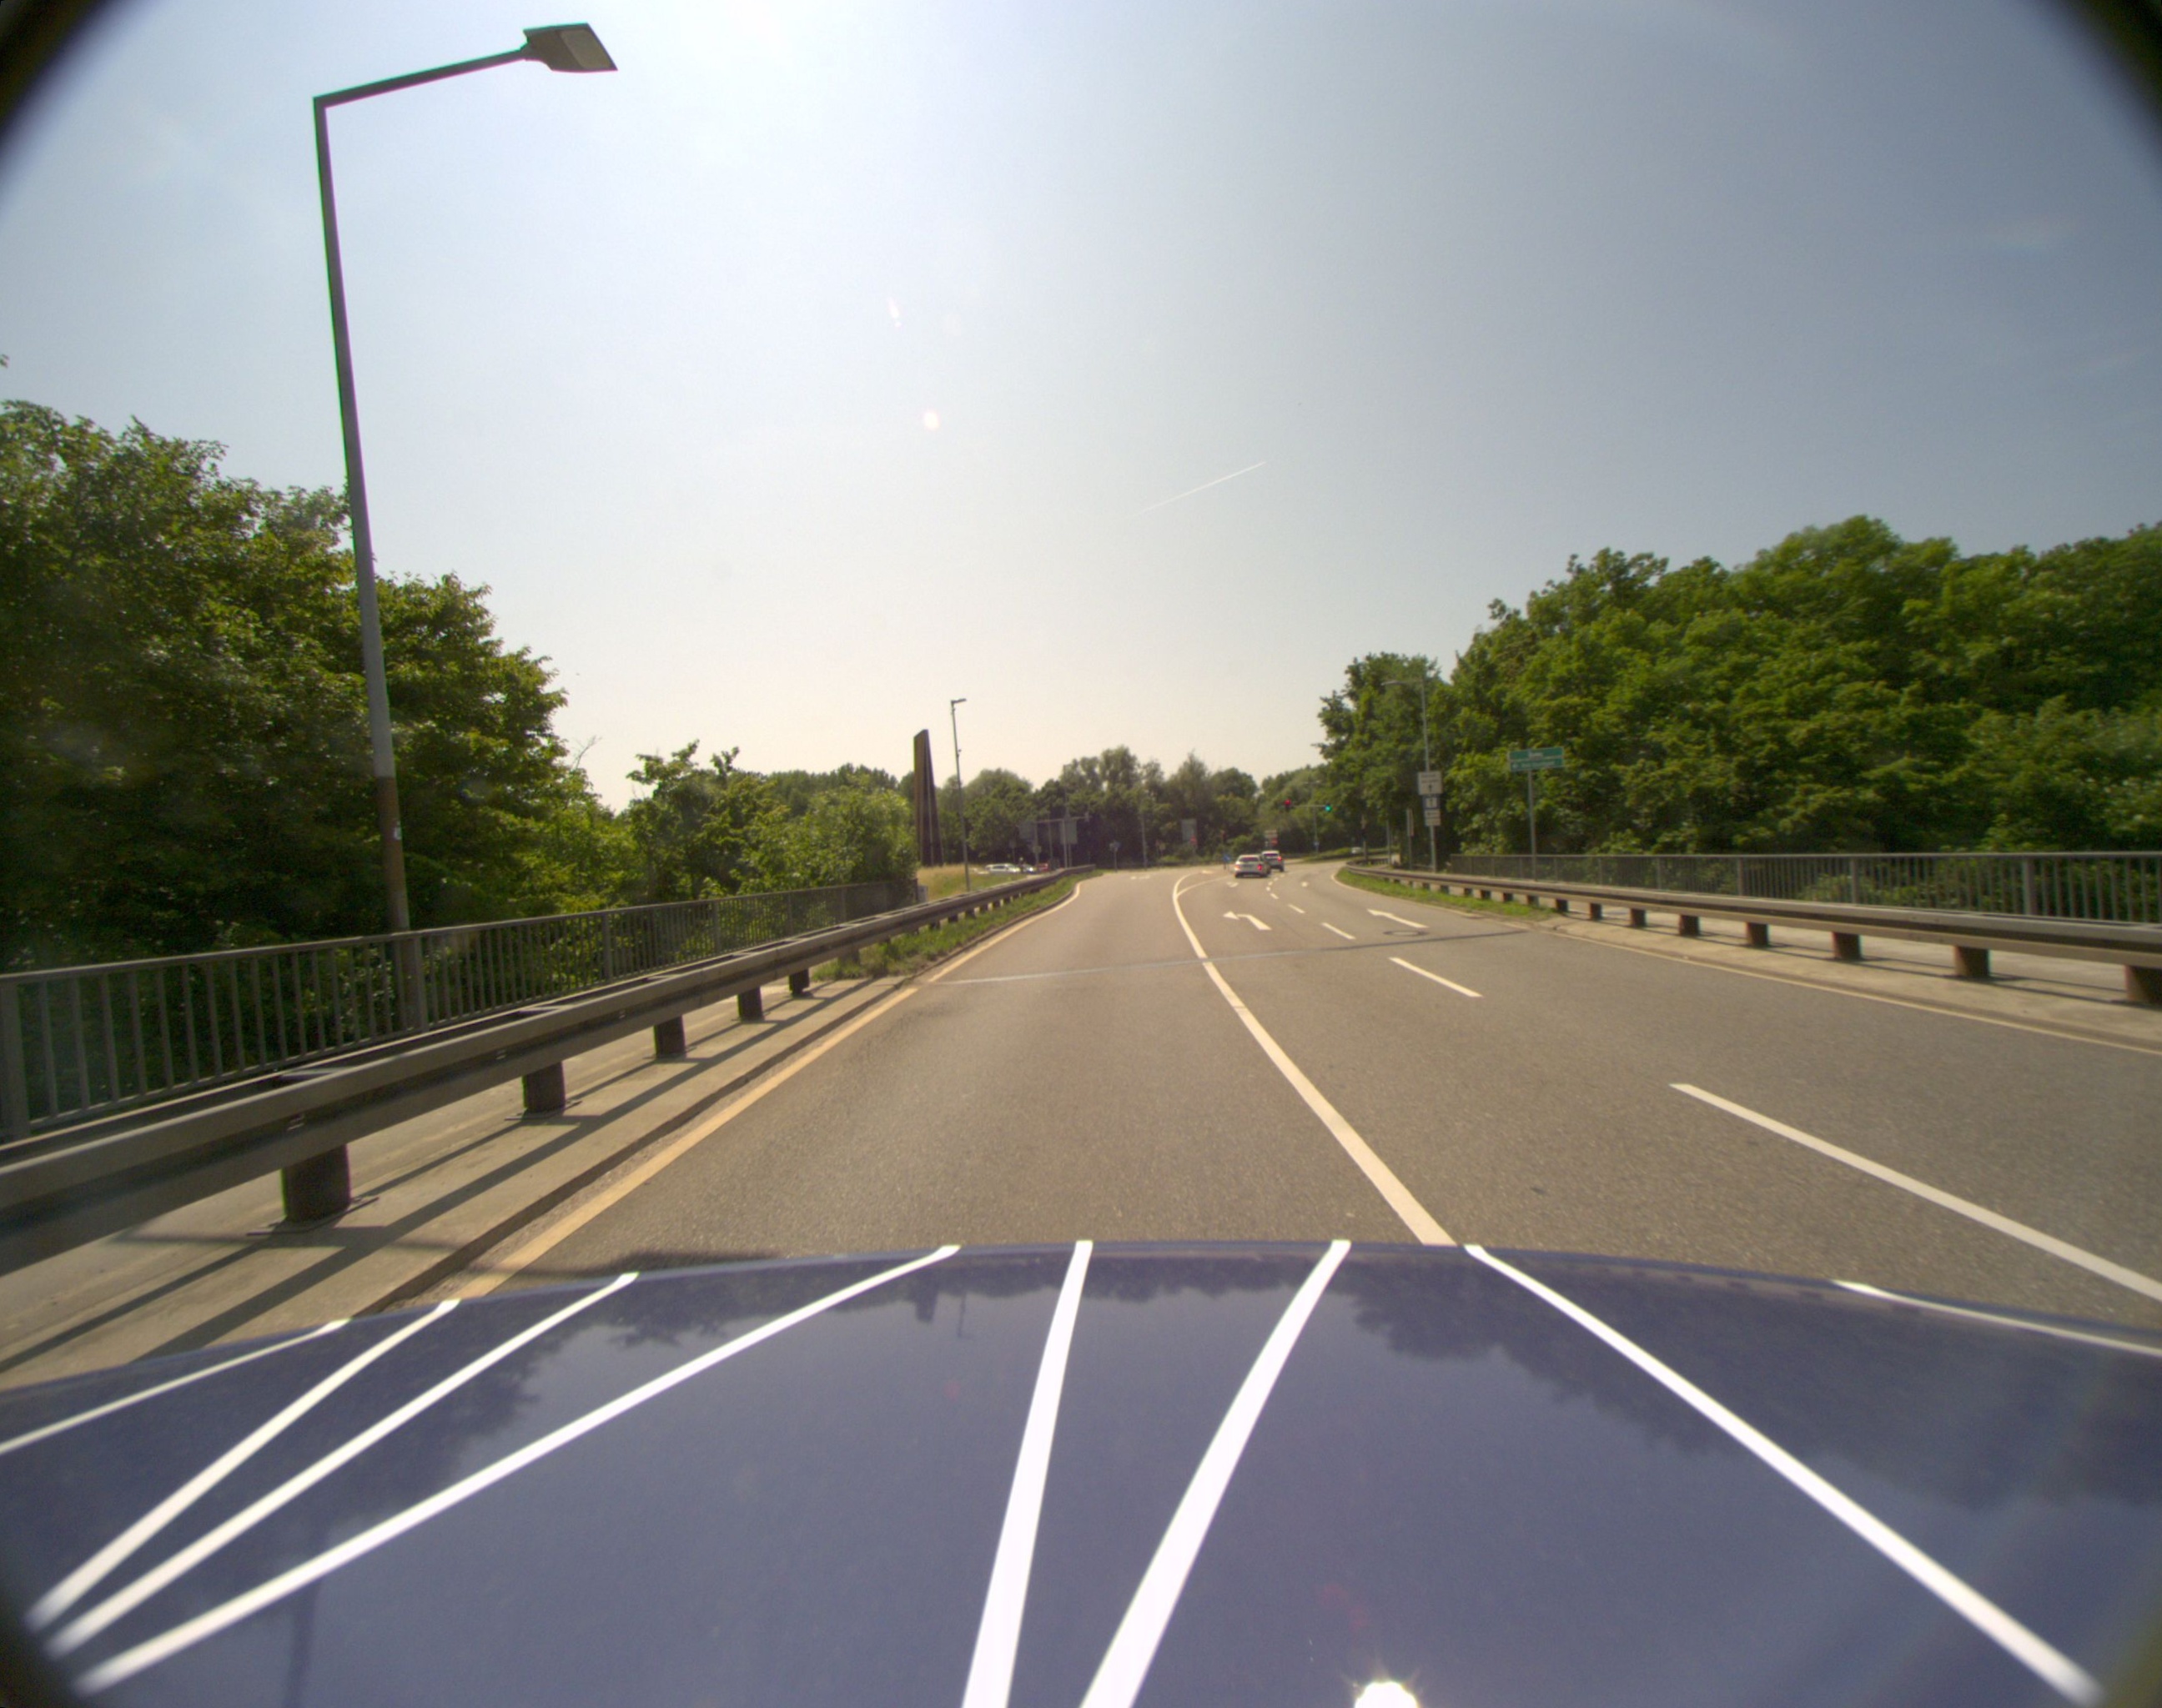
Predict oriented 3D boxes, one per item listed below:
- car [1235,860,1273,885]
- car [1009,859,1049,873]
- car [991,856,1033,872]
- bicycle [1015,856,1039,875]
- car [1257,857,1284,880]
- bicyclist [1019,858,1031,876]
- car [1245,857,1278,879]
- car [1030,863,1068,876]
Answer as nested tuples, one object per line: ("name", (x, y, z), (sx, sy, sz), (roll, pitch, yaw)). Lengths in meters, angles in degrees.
("car", (10.969, 1.114, 47.897), (1.830, 1.398, 4.894), (0, 1, 19))
("car", (-5.809, 1.352, 83.978), (4.175, 1.415, 1.871), (-3, 0, 39))
("car", (-7.333, 1.070, 80.473), (4.285, 1.497, 1.871), (-3, 0, 39))
("bicycle", (-4.758, 1.014, 66.648), (2.368, 1.565, 0.658), (-3, 0, 43))
("car", (15.096, 1.104, 60.390), (1.830, 1.629, 4.584), (-1, 0, 17))
("bicyclist", (-4.907, 1.131, 66.820), (0.689, 1.589, 0.672), (-2, 1, 43))
("car", (12.737, 0.963, 53.565), (1.830, 1.398, 4.552), (-2, 0, 19))
("car", (-3.675, 1.794, 86.350), (4.175, 1.346, 1.758), (-3, 0, 39))
